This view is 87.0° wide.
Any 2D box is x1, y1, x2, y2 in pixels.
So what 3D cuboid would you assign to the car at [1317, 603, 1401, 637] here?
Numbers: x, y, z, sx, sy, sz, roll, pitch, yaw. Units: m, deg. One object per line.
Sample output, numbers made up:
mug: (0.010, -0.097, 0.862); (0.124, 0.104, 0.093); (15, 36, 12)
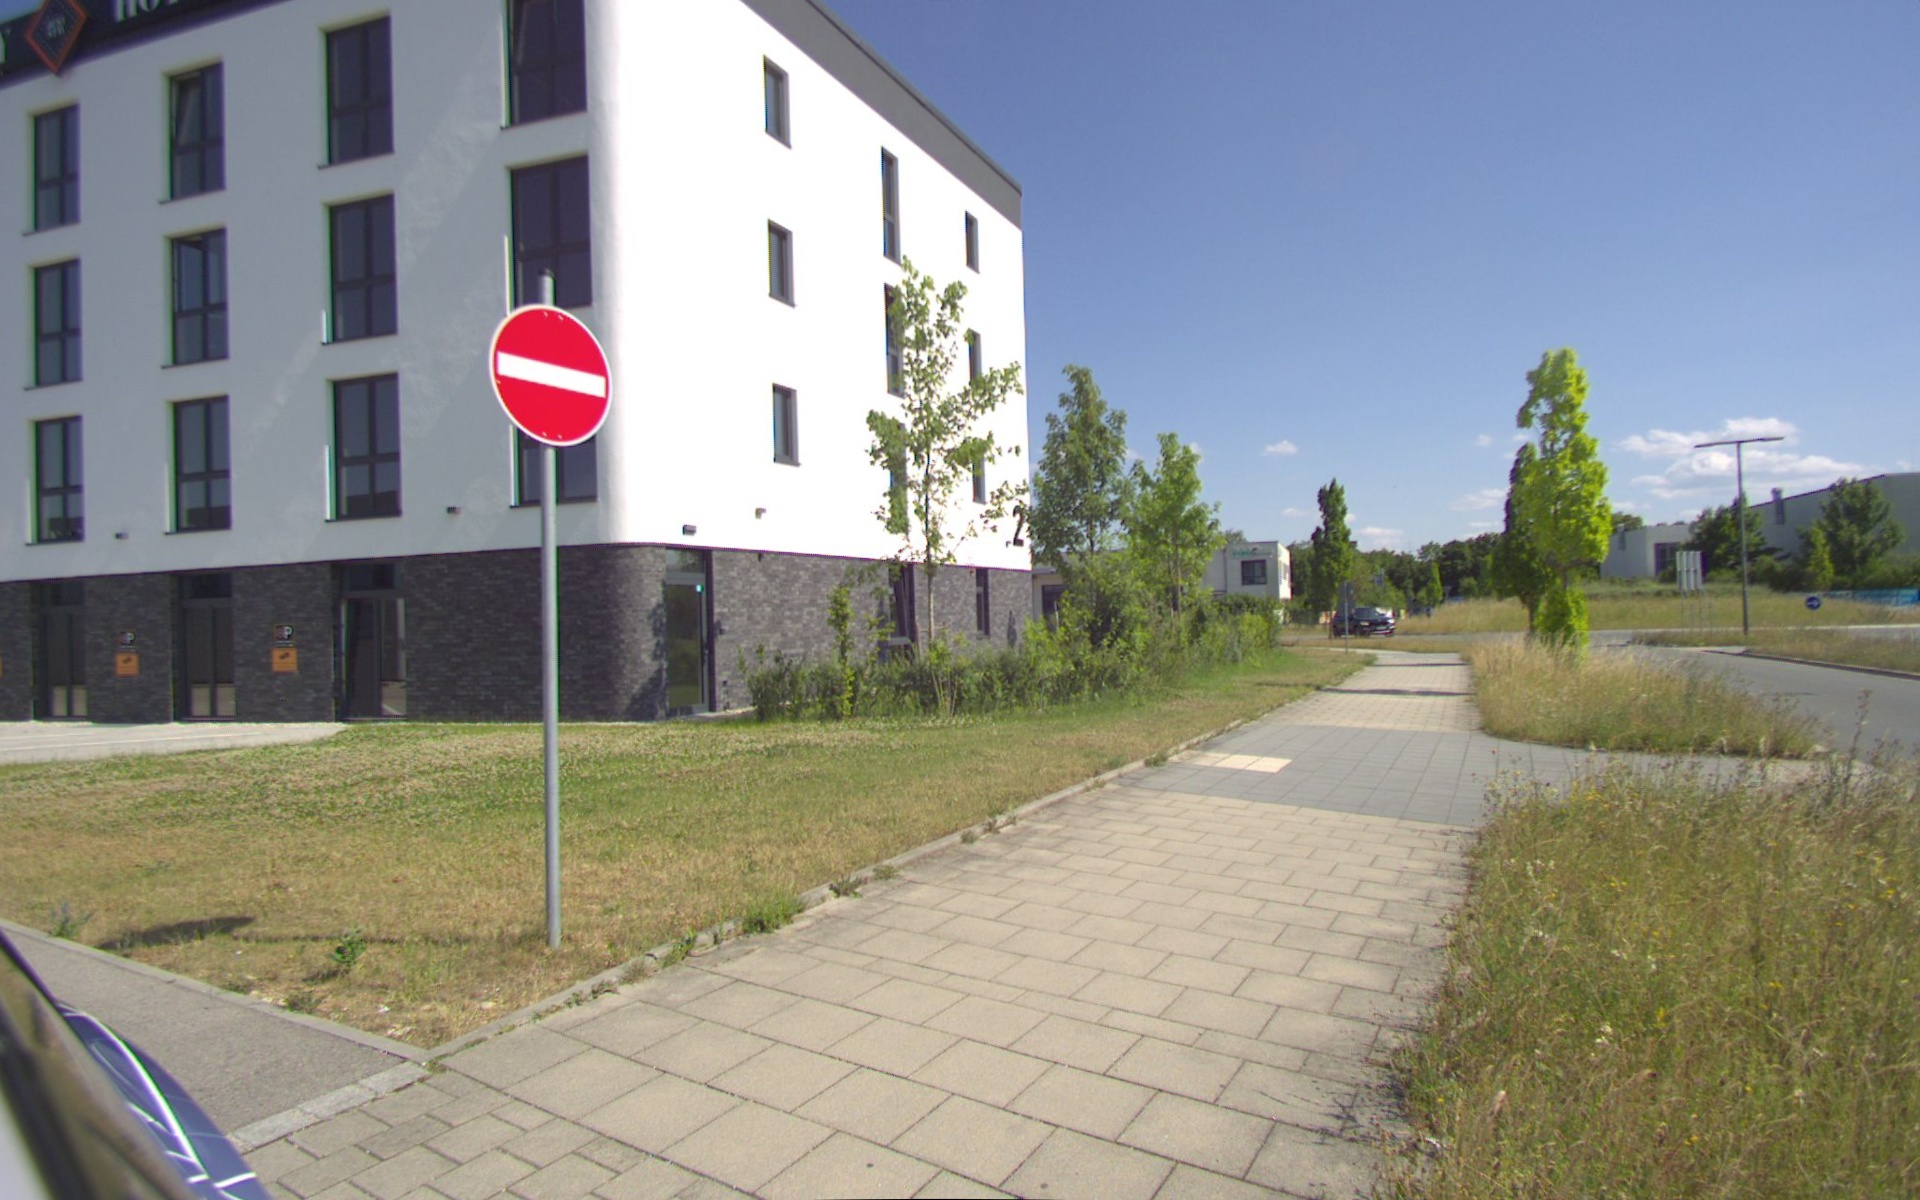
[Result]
car: (20.758, 1.058, 52.852); (1.811, 1.586, 4.012); (-2, -2, -20)
